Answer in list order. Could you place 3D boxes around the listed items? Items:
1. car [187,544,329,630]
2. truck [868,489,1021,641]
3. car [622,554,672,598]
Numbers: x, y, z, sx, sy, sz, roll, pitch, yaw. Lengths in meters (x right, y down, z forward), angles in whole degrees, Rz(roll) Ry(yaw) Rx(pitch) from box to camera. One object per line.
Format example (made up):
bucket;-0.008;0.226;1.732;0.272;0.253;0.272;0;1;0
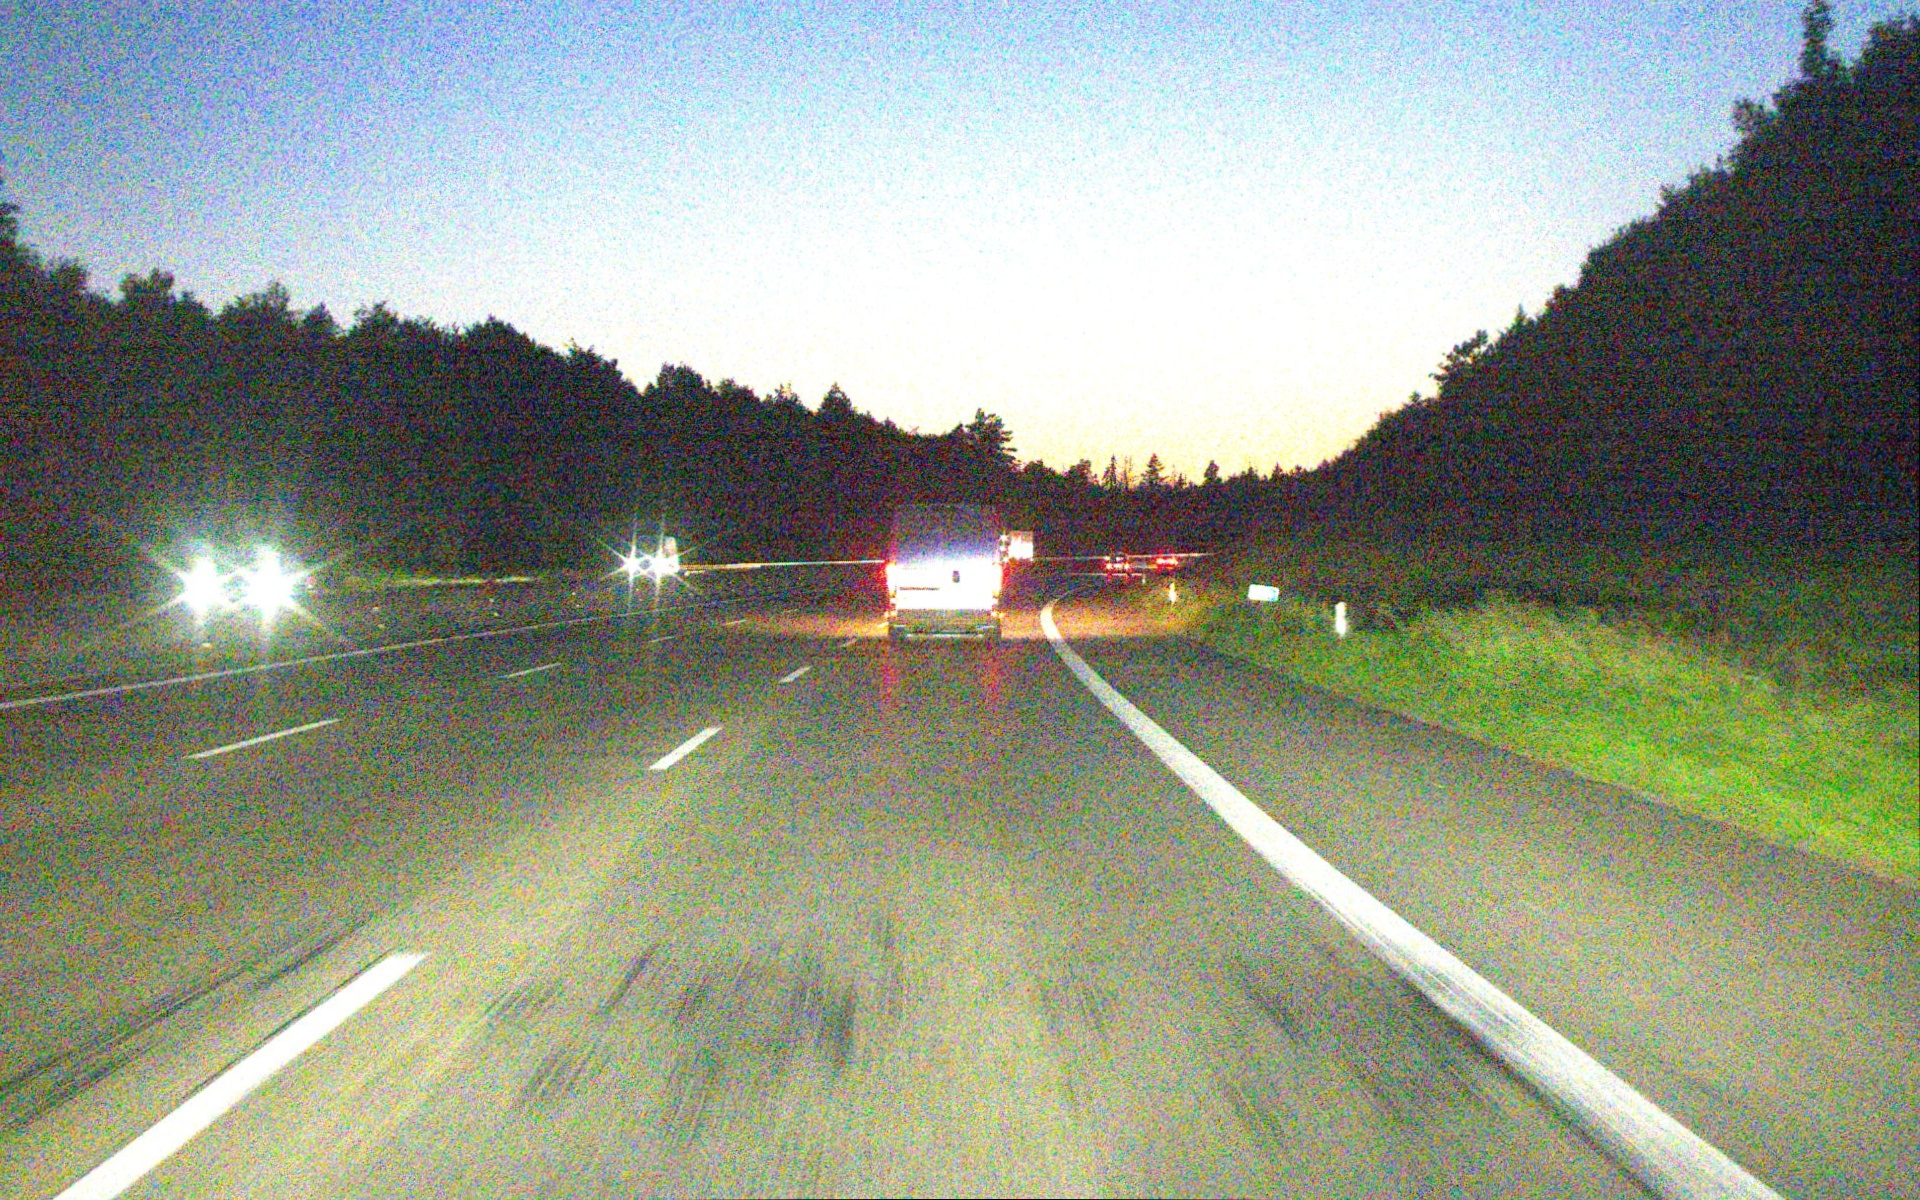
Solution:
car;-15.222;-0.290;74.777;1.993;1.784;4.680;0;0;2
truck;-0.301;-0.640;64.028;2.630;2.615;8.685;0;0;0
car;-18.050;-1.364;198.672;2.082;2.479;6.242;0;0;2
